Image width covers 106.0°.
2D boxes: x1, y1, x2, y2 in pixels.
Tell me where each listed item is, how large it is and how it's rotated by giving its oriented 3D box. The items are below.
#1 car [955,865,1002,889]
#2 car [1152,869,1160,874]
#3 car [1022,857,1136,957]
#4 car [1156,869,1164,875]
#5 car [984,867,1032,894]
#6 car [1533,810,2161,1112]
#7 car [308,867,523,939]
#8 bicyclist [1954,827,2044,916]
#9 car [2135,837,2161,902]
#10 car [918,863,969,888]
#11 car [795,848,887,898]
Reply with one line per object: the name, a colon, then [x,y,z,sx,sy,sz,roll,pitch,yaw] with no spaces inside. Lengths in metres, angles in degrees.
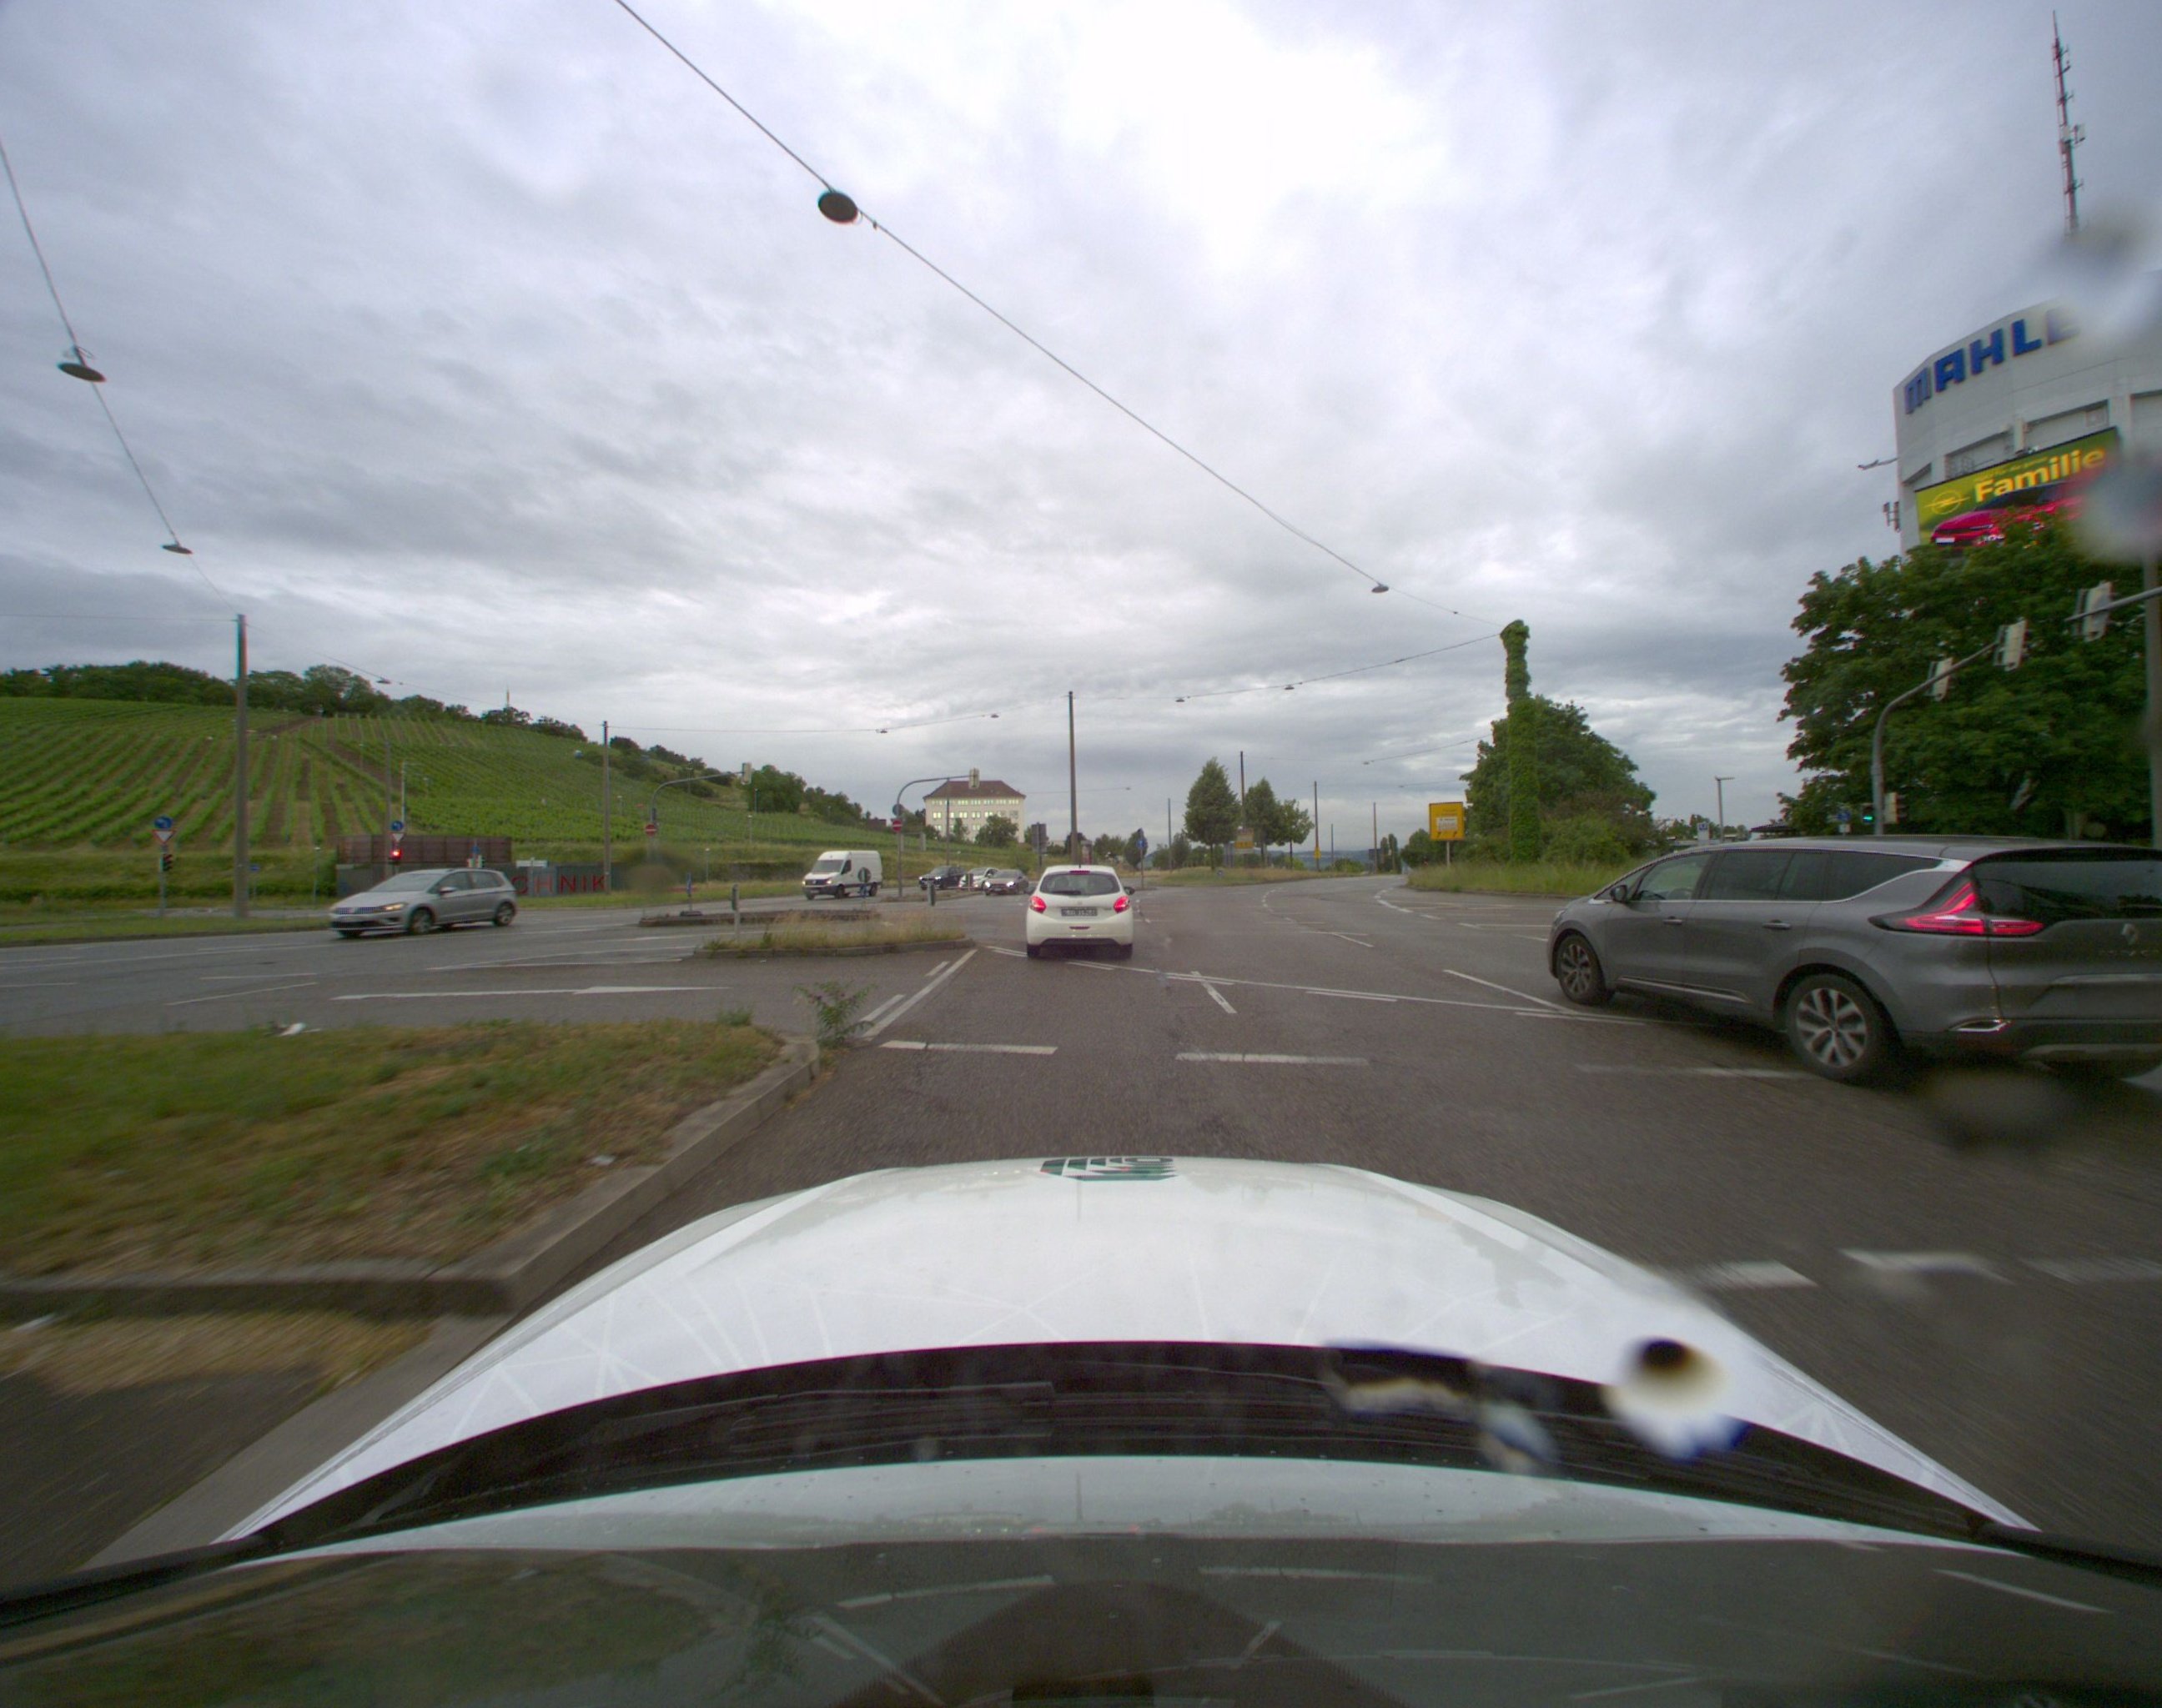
car: [-6.870,1.551,54.890,1.738,1.513,4.015,0,-1,14]
car: [21.045,4.944,228.861,1.835,1.486,4.000,-1,-1,0]
car: [0.043,0.836,14.255,1.711,1.489,4.001,0,-1,2]
car: [21.274,4.796,220.461,1.835,1.486,4.000,-1,-1,0]
car: [-4.136,1.464,46.569,1.766,1.425,4.383,-2,-1,8]
car: [5.936,0.609,6.812,1.858,1.674,4.566,0,0,1]
car: [-16.225,1.120,20.212,1.989,1.576,4.191,-1,-1,-2]
bicyclist: [16.935,0.320,15.057,0.801,1.584,1.029,0,-1,29]
car: [27.928,0.339,18.728,4.094,1.564,1.881,-1,-1,23]
car: [-9.631,1.507,57.287,1.763,1.636,4.526,0,-1,15]
car: [-13.256,1.053,45.561,1.979,2.559,6.193,0,-1,15]
